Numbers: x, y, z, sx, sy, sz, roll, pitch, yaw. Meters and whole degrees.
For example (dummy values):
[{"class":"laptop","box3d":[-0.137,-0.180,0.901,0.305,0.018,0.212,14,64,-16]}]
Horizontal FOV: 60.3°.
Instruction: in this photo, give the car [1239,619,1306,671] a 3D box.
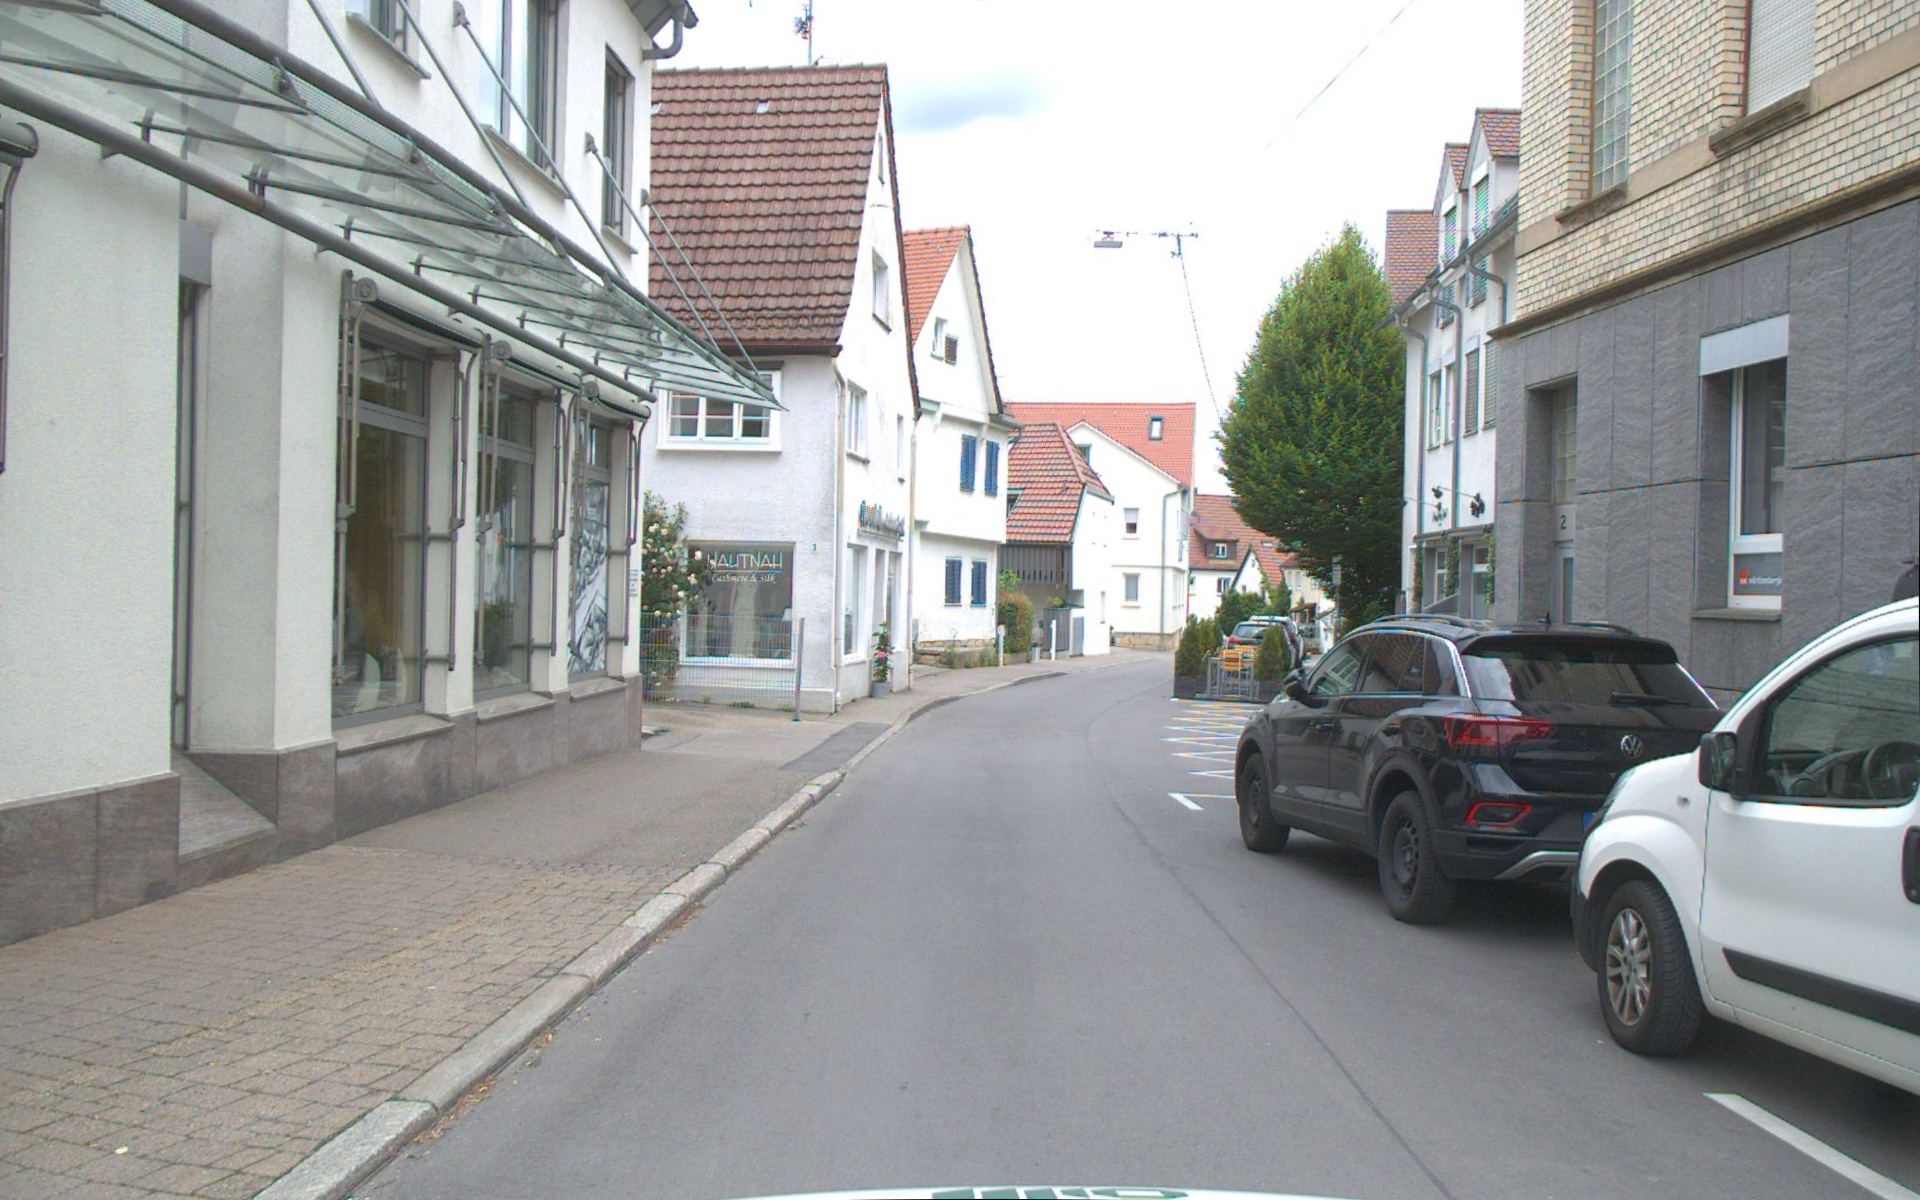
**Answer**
[{"class":"car","box3d":[10.852,1.516,57.185,1.951,1.644,4.882,2,0,14]}]

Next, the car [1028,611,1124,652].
[{"class":"car","box3d":[4.995,1.359,71.097,3.653,1.436,2.121,4,-2,17]}]

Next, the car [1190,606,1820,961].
[{"class":"car","box3d":[2.900,0.881,10.006,1.754,1.628,4.533,2,0,-8]}]

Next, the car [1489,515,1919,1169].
[{"class":"car","box3d":[3.514,0.696,5.158,1.792,1.823,4.209,2,0,-10]}]

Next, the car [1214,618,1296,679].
[{"class":"car","box3d":[8.185,1.302,45.614,1.906,1.534,4.824,2,0,13]}]

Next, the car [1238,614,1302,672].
[{"class":"car","box3d":[9.675,1.310,51.419,1.823,1.662,4.905,1,-1,12]}]
